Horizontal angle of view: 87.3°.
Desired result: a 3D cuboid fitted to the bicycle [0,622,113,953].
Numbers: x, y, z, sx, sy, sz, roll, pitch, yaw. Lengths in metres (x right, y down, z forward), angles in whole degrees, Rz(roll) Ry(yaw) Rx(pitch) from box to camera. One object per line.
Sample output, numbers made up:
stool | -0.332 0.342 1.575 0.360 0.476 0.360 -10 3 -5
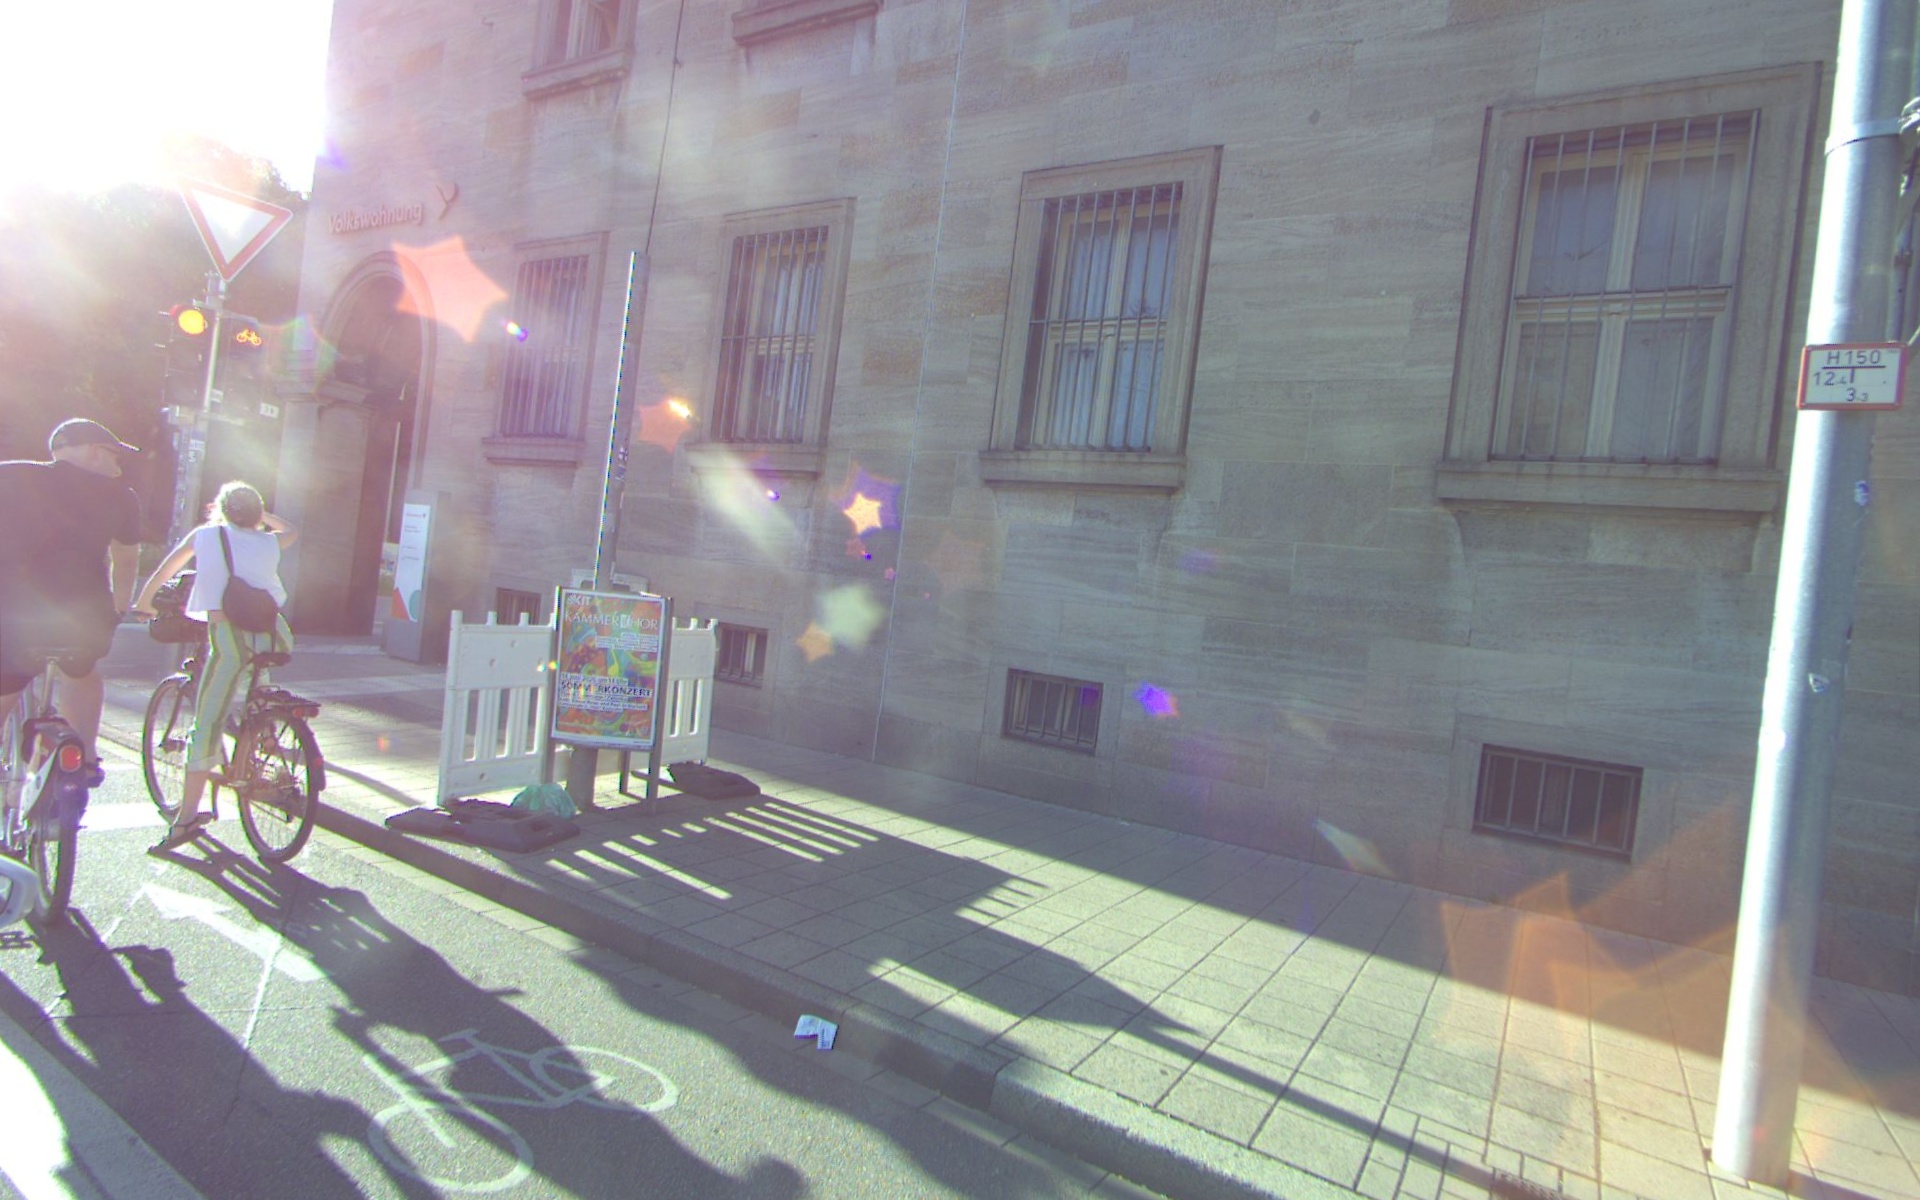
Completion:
bicycle | -3.825 0.629 3.952 1.923 0.916 0.388 7 0 41

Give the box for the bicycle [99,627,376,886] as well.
bicycle | -3.619 0.693 4.969 1.920 0.887 0.427 7 0 35

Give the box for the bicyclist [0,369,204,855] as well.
bicyclist | -3.497 0.044 3.865 0.647 1.698 0.669 7 1 38

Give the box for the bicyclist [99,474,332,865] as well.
bicyclist | -3.593 0.295 4.849 0.845 1.700 0.522 7 1 35
